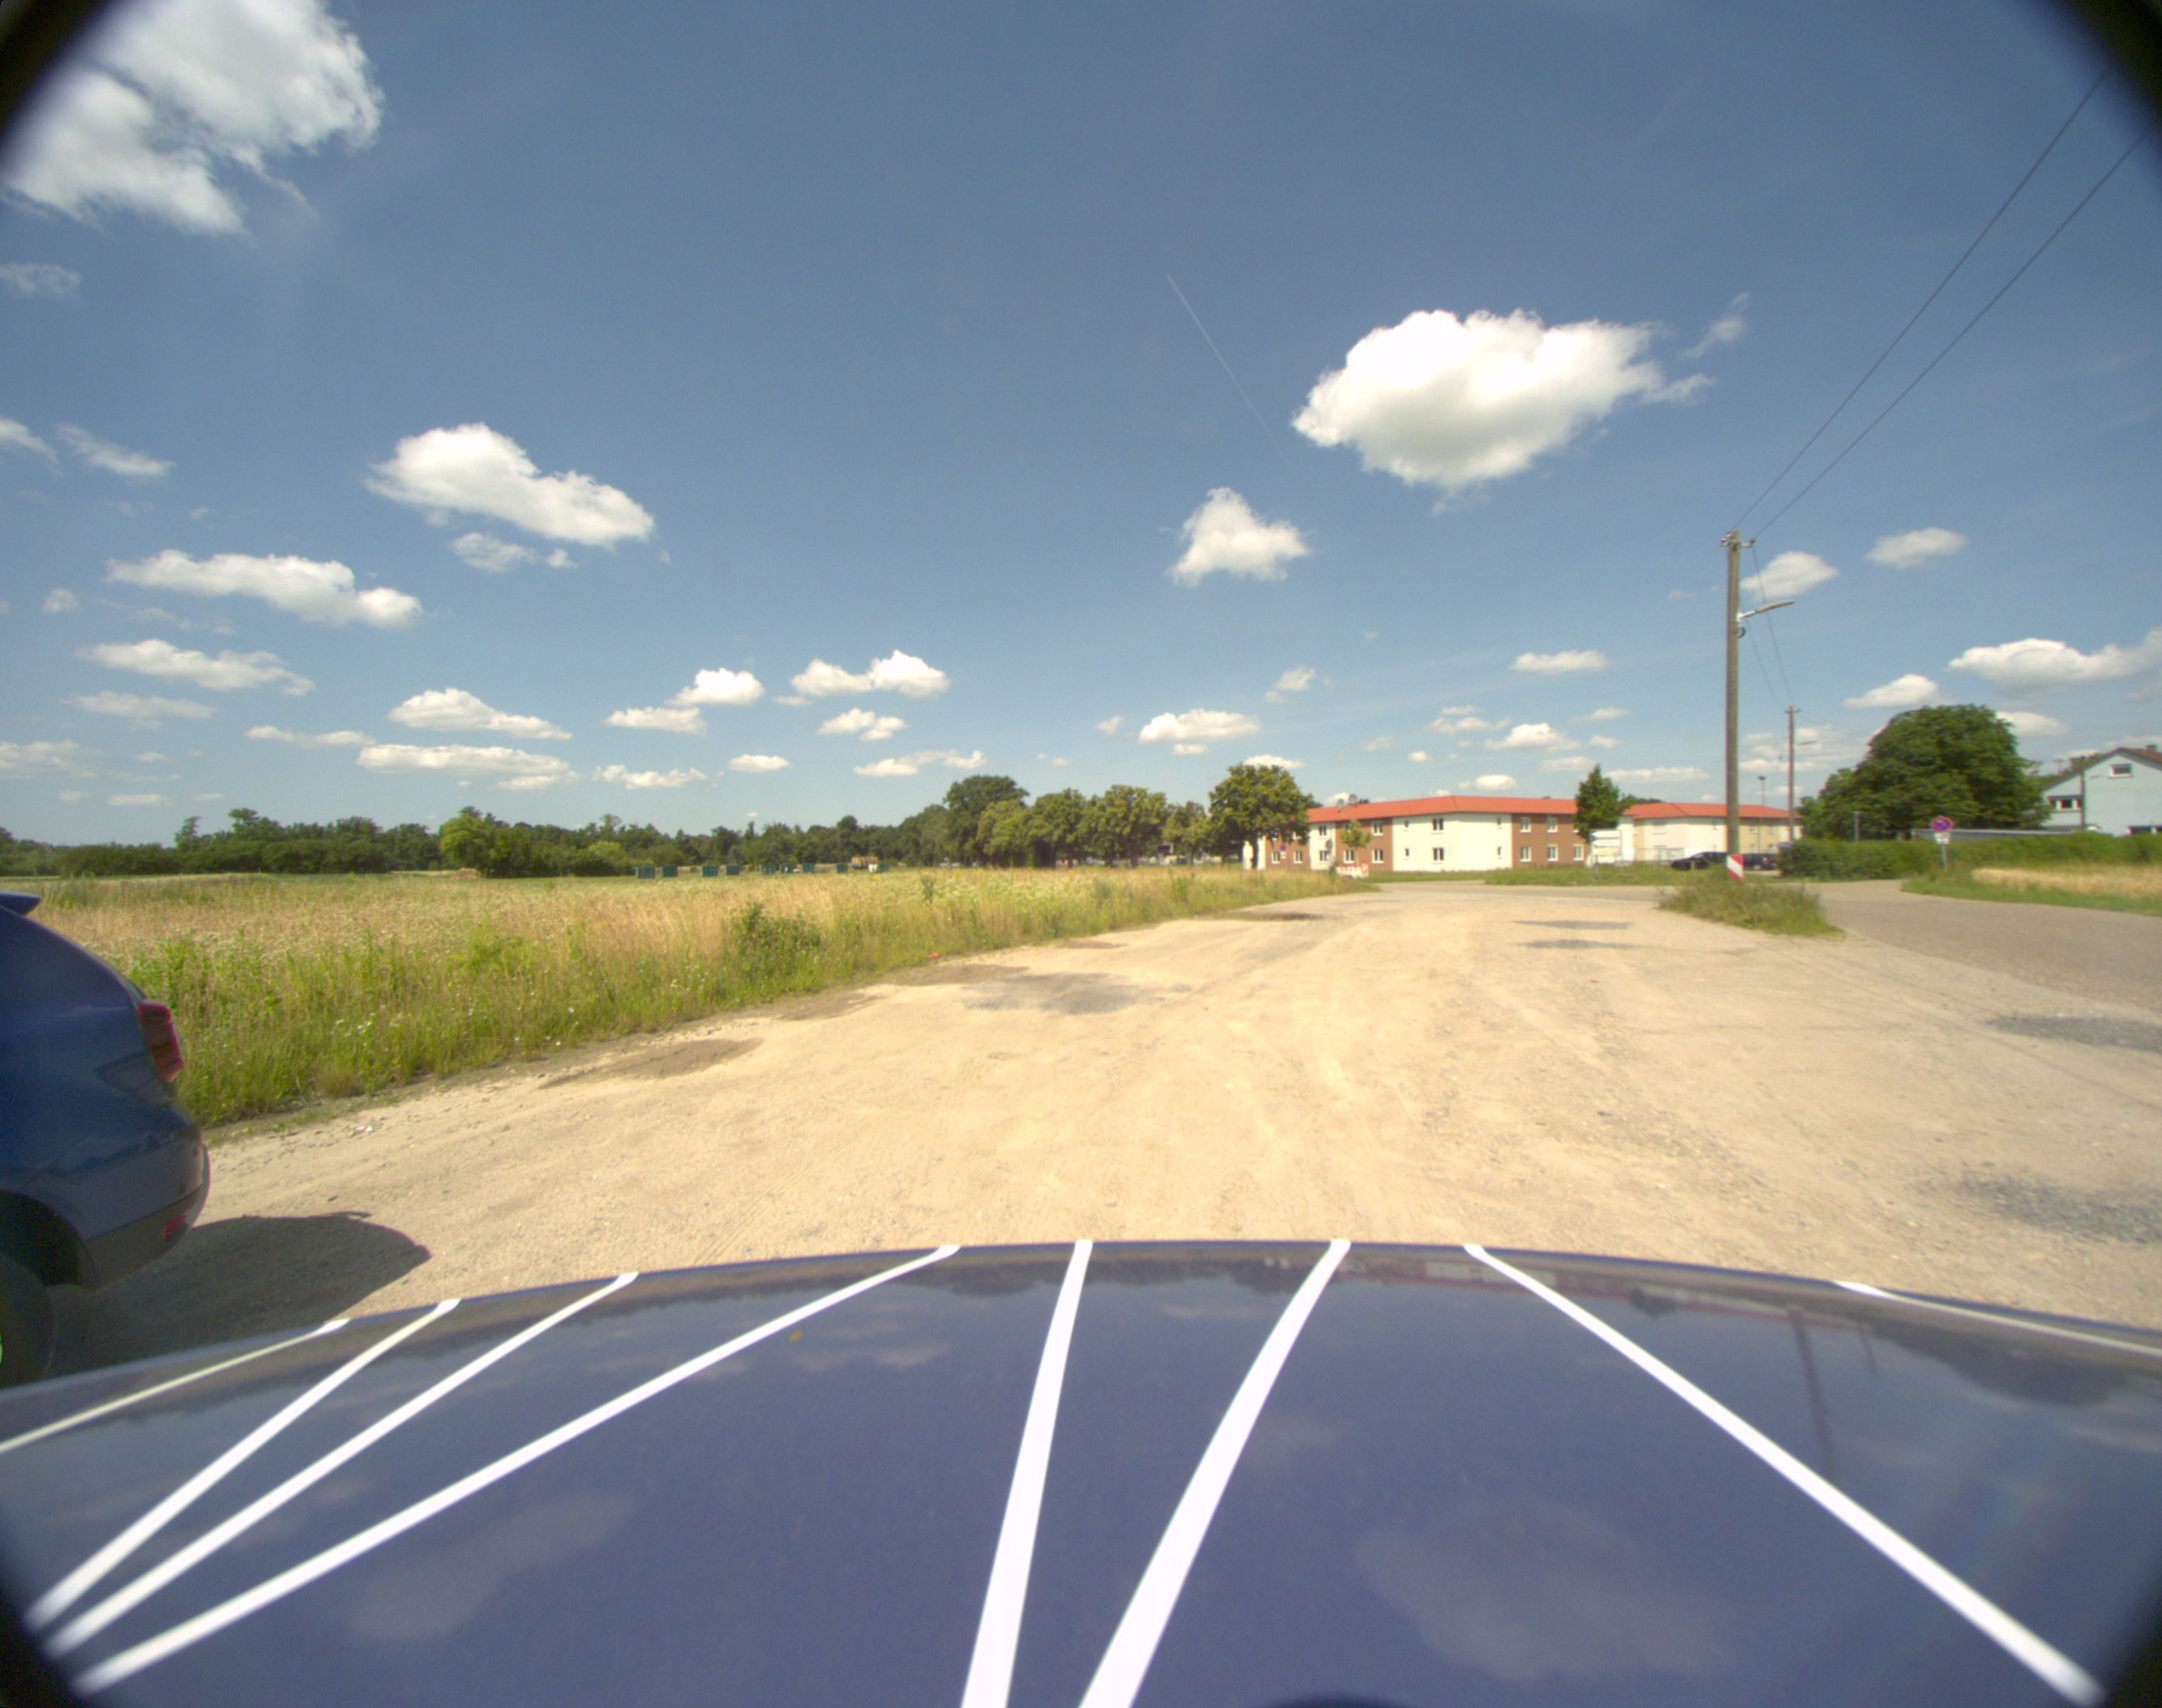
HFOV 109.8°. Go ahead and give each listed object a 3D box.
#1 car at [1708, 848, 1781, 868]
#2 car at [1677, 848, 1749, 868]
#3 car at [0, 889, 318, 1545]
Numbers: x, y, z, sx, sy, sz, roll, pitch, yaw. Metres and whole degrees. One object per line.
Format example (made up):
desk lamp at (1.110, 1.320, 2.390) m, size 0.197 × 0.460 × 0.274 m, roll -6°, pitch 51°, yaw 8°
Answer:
car at (55.552, 0.369, 63.711) m, size 2.003 × 1.605 × 4.140 m, roll -1°, pitch 0°, yaw -25°
car at (51.823, 0.354, 62.387) m, size 2.003 × 1.605 × 4.140 m, roll -1°, pitch 0°, yaw -25°
car at (-4.218, 1.007, 0.748) m, size 1.860 × 1.651 × 4.464 m, roll -2°, pitch 0°, yaw 20°
